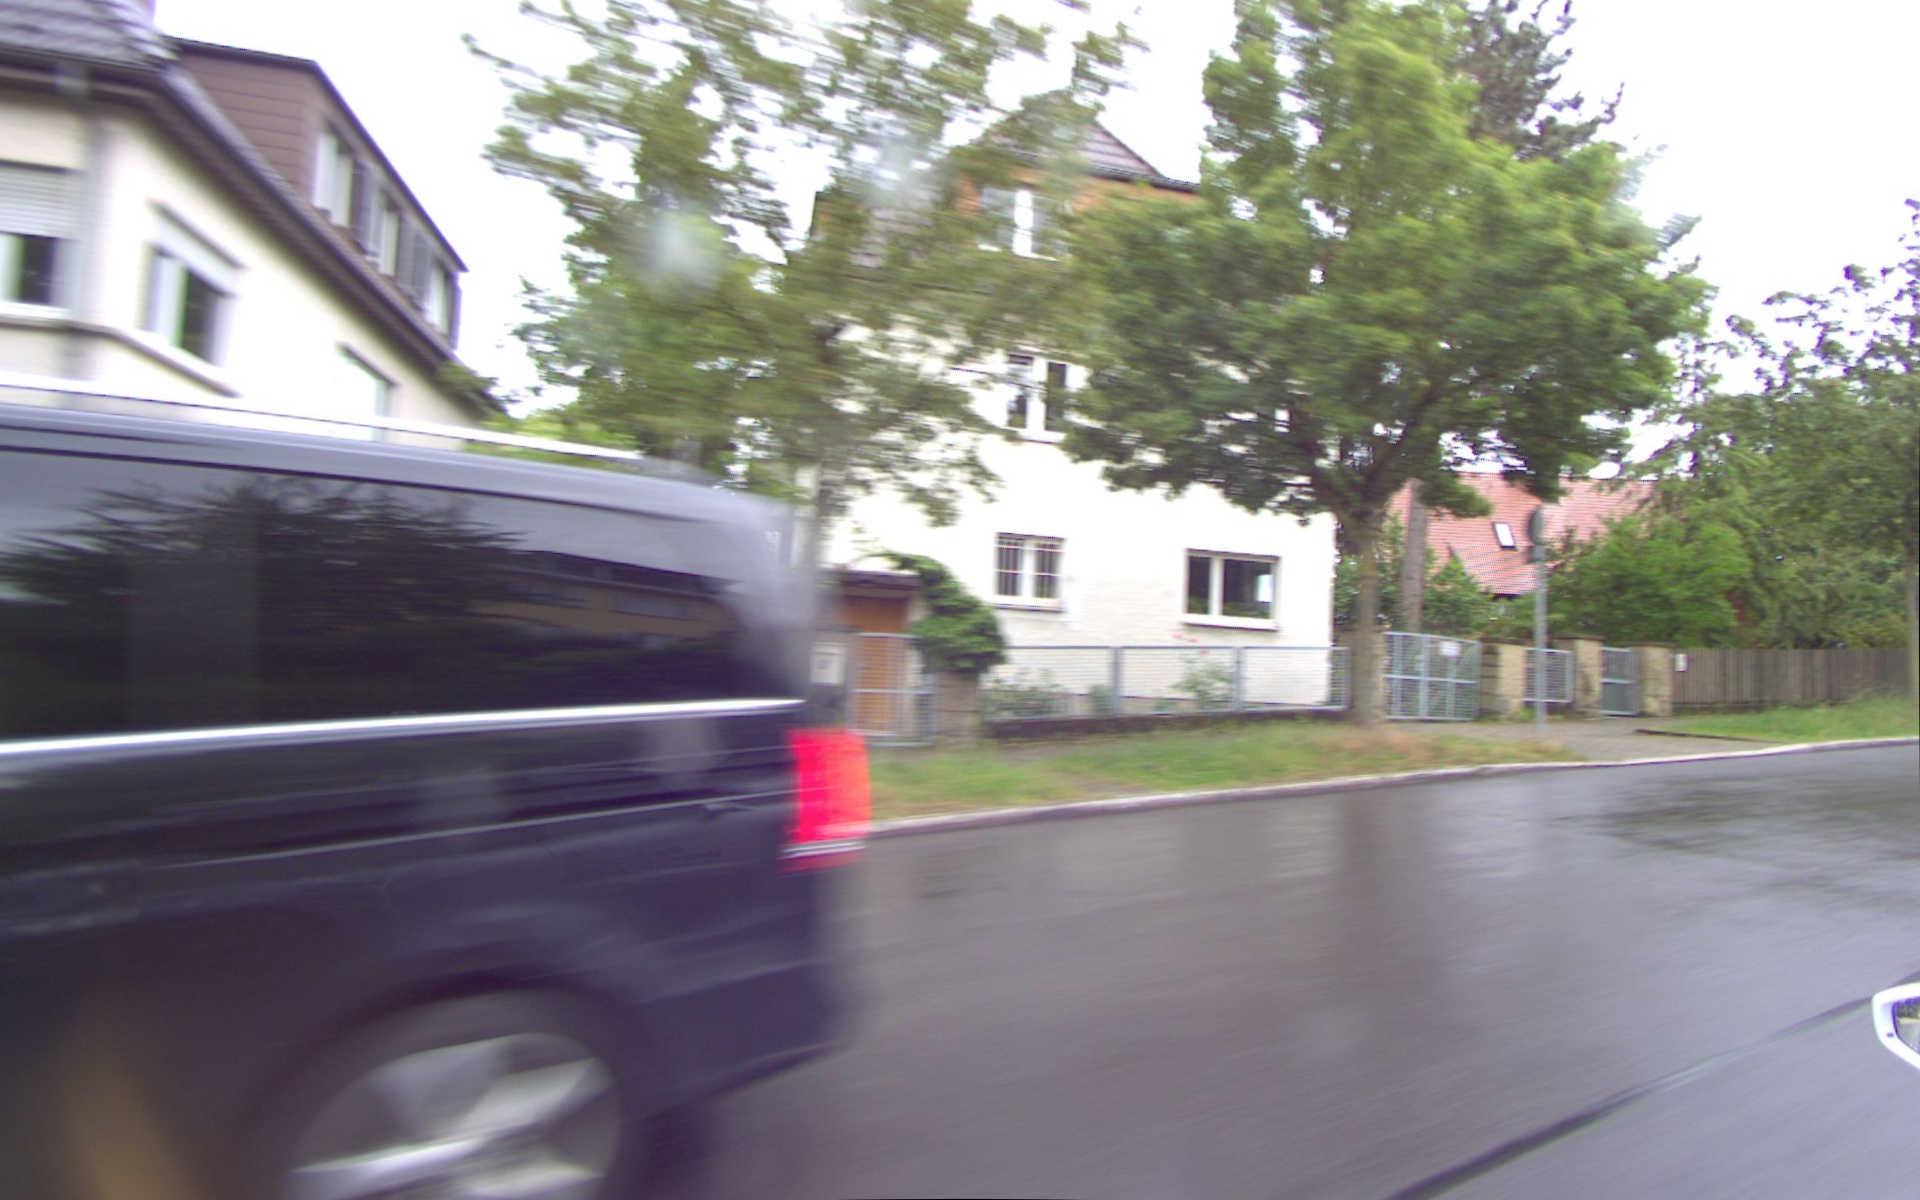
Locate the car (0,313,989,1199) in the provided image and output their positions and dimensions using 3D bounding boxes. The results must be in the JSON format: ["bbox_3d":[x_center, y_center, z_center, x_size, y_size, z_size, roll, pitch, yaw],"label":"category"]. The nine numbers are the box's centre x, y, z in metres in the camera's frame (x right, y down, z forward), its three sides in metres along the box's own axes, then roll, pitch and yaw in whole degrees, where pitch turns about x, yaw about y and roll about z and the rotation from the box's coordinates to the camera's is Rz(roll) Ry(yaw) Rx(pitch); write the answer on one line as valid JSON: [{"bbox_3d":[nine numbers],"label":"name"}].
[{"bbox_3d":[-2.558,0.505,2.151,5.098,1.914,1.886,2,-3,-33],"label":"car"}]
